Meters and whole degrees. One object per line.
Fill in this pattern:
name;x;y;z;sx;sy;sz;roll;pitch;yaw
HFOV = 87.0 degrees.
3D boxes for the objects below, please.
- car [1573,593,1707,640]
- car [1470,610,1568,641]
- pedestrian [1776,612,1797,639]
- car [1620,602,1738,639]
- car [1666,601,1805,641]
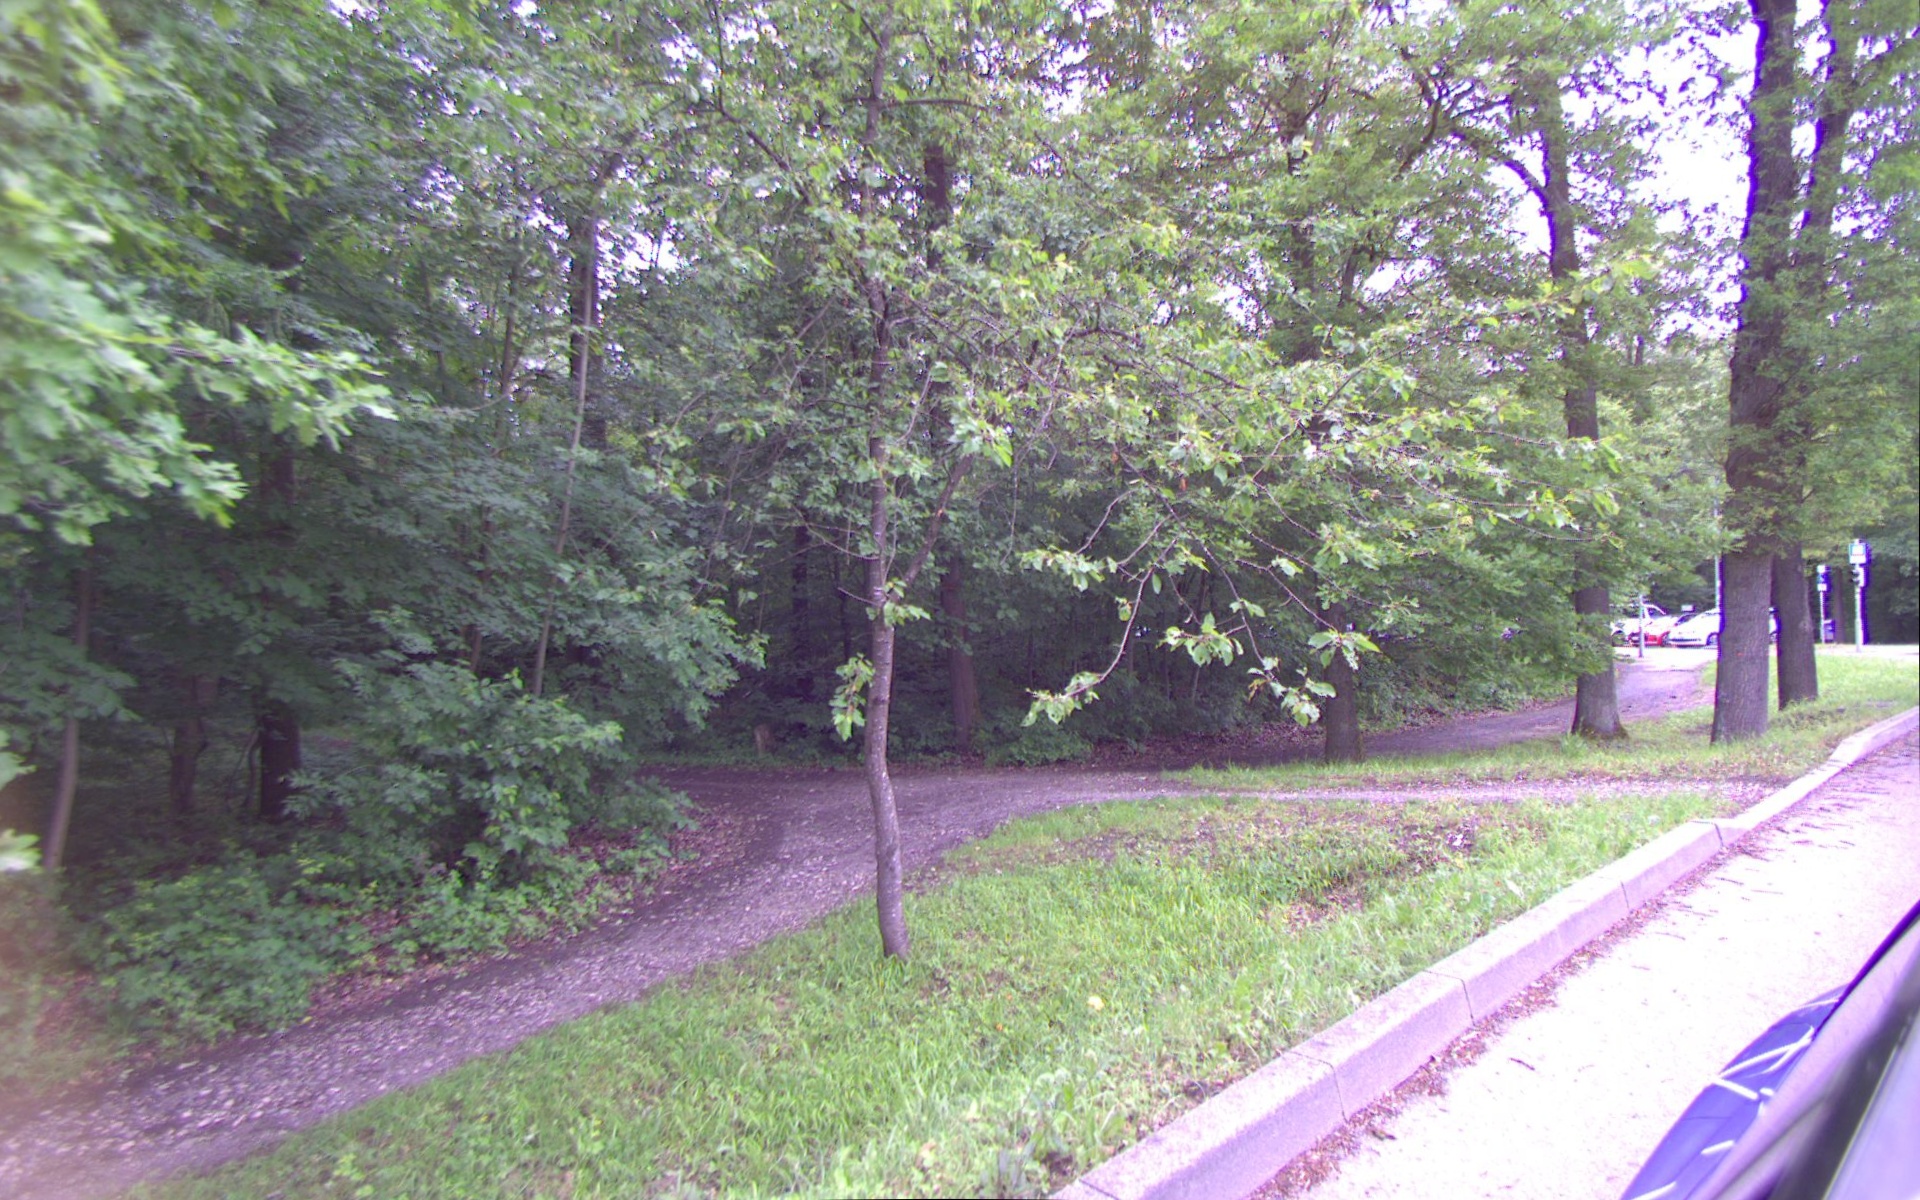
car;31.695;0.779;47.258;5.076;1.983;2.065;-2;-2;-10
car;30.024;1.387;54.416;4.437;1.578;1.846;0;-2;-13
pedestrian;51.603;1.590;63.168;1.018;1.672;0.831;2;-3;-44
car;31.715;0.926;44.693;3.919;1.572;1.896;-1;-2;-6
car;32.229;0.871;42.135;4.331;1.572;2.001;-1;-2;-6
